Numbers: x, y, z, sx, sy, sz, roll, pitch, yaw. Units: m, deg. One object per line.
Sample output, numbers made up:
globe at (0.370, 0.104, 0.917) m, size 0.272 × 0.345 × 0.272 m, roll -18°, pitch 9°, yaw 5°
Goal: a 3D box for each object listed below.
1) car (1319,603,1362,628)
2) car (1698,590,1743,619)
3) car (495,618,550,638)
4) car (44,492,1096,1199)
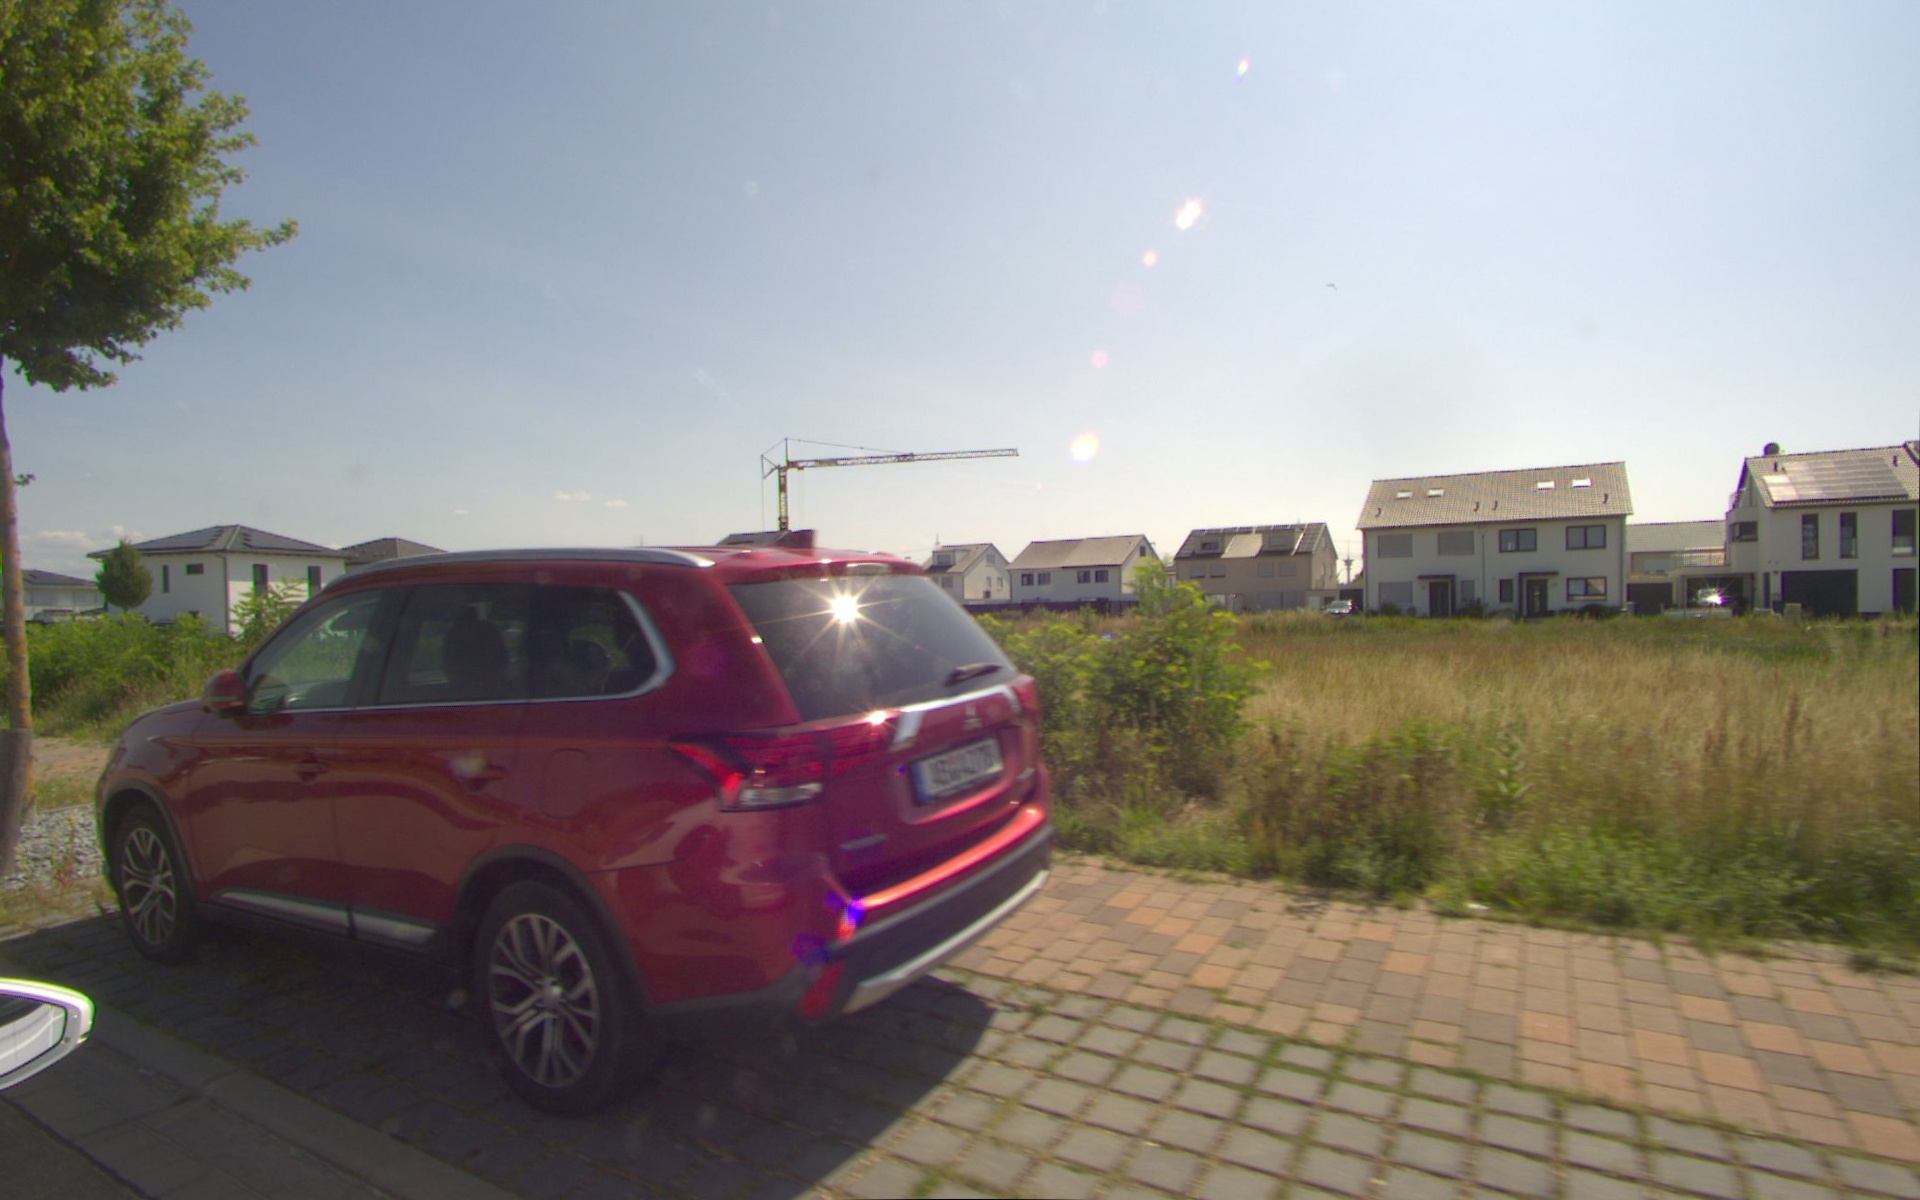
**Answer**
car at (25.451, 0.997, 66.903) m, size 1.791 × 1.594 × 3.976 m, roll -1°, pitch -1°, yaw 34°
car at (42.235, 0.268, 55.669) m, size 1.791 × 1.532 × 3.976 m, roll -1°, pitch -1°, yaw 34°
car at (-34.529, 2.192, 79.104) m, size 1.719 × 1.416 × 3.994 m, roll -2°, pitch -1°, yaw 18°
car at (-1.807, 0.606, 4.187) m, size 4.368 × 1.685 × 1.773 m, roll -1°, pitch 1°, yaw 31°
